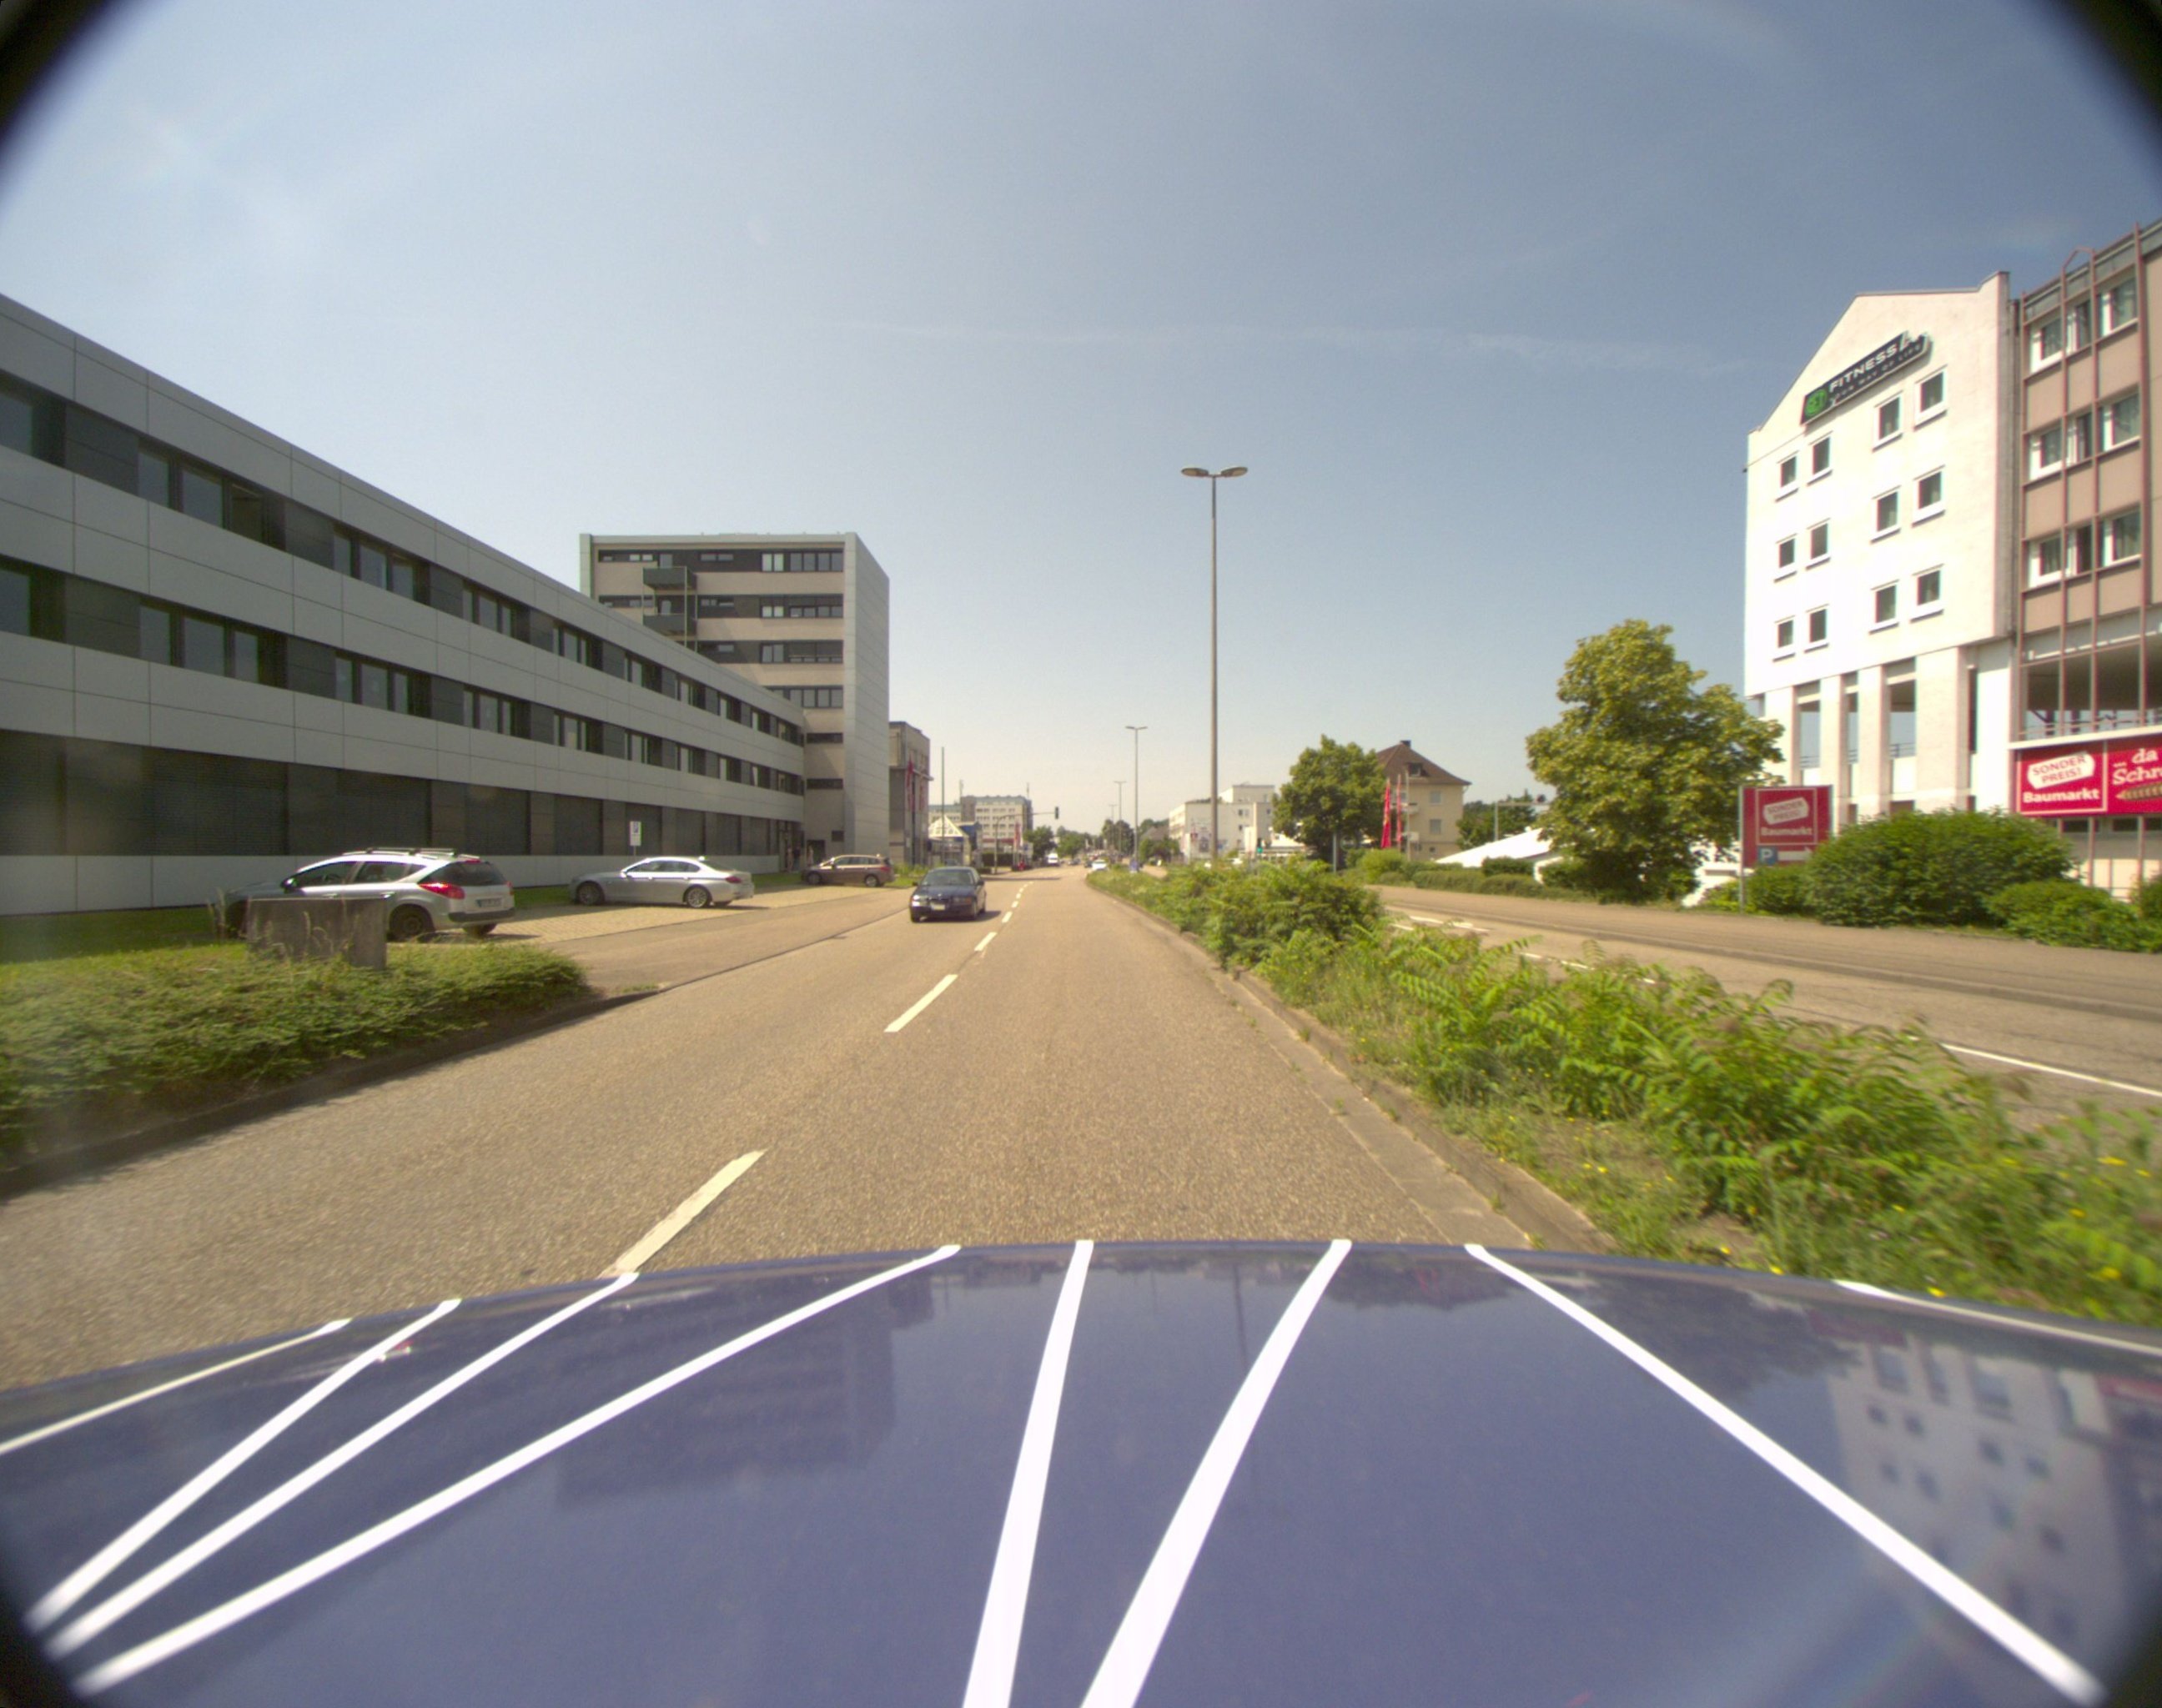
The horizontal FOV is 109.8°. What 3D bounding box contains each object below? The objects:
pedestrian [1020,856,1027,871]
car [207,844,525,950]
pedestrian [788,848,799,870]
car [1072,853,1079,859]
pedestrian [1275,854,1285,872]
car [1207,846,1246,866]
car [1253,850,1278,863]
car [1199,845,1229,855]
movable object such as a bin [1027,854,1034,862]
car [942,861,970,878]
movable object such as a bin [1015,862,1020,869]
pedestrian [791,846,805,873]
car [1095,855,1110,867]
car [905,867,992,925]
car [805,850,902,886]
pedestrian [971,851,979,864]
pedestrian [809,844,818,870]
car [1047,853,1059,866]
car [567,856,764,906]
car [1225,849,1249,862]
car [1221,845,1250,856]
[{"bbox_3d":[-7.058,1.125,93.051,0.787,1.836,0.936,0,1,4],"label":"pedestrian"},{"bbox_3d":[-12.387,0.717,13.383,3.823,1.583,1.732,3,1,-3],"label":"car"},{"bbox_3d":[-18.146,0.326,47.962,0.523,1.397,0.799,1,1,-9],"label":"pedestrian"},{"bbox_3d":[-1.550,0.464,207.602,1.867,1.550,4.000,0,0,1],"label":"car"},{"bbox_3d":[19.636,0.854,74.922,0.742,1.737,1.034,0,1,4],"label":"pedestrian"},{"bbox_3d":[18.919,0.281,98.858,4.556,1.699,1.760,-11,0,6],"label":"car"},{"bbox_3d":[20.554,0.289,84.697,1.737,1.343,3.999,0,0,-1],"label":"car"},{"bbox_3d":[19.255,-0.625,110.087,3.997,1.386,1.860,0,0,0],"label":"car"},{"bbox_3d":[-8.916,0.668,134.797,1.133,1.461,1.489,0,0,2],"label":"movable object such as a bin"},{"bbox_3d":[-12.035,1.459,73.275,1.848,1.522,4.197,-1,0,2],"label":"car"},{"bbox_3d":[-7.620,1.383,91.417,0.552,0.914,0.653,3,1,2],"label":"movable object such as a bin"},{"bbox_3d":[-17.508,0.341,46.995,0.594,1.625,0.523,1,1,10],"label":"pedestrian"},{"bbox_3d":[2.572,0.807,91.035,1.692,1.426,3.711,0,0,2],"label":"car"},{"bbox_3d":[-3.460,1.062,20.495,1.632,1.331,3.756,-1,0,0],"label":"car"},{"bbox_3d":[-11.345,0.690,38.096,4.271,1.679,1.999,1,1,-3],"label":"car"},{"bbox_3d":[-12.911,0.387,92.883,0.812,1.618,0.853,0,1,4],"label":"pedestrian"},{"bbox_3d":[-16.965,0.202,48.163,0.523,1.653,0.756,0,1,-16],"label":"pedestrian"},{"bbox_3d":[-5.923,1.112,163.621,2.182,2.757,7.278,2,0,1],"label":"car"},{"bbox_3d":[-12.010,0.767,22.238,4.626,1.382,1.999,0,1,-3],"label":"car"},{"bbox_3d":[17.596,0.185,85.779,1.780,1.402,4.759,1,0,1],"label":"car"},{"bbox_3d":[23.215,-0.505,114.428,3.996,1.599,1.926,0,0,4],"label":"car"}]
